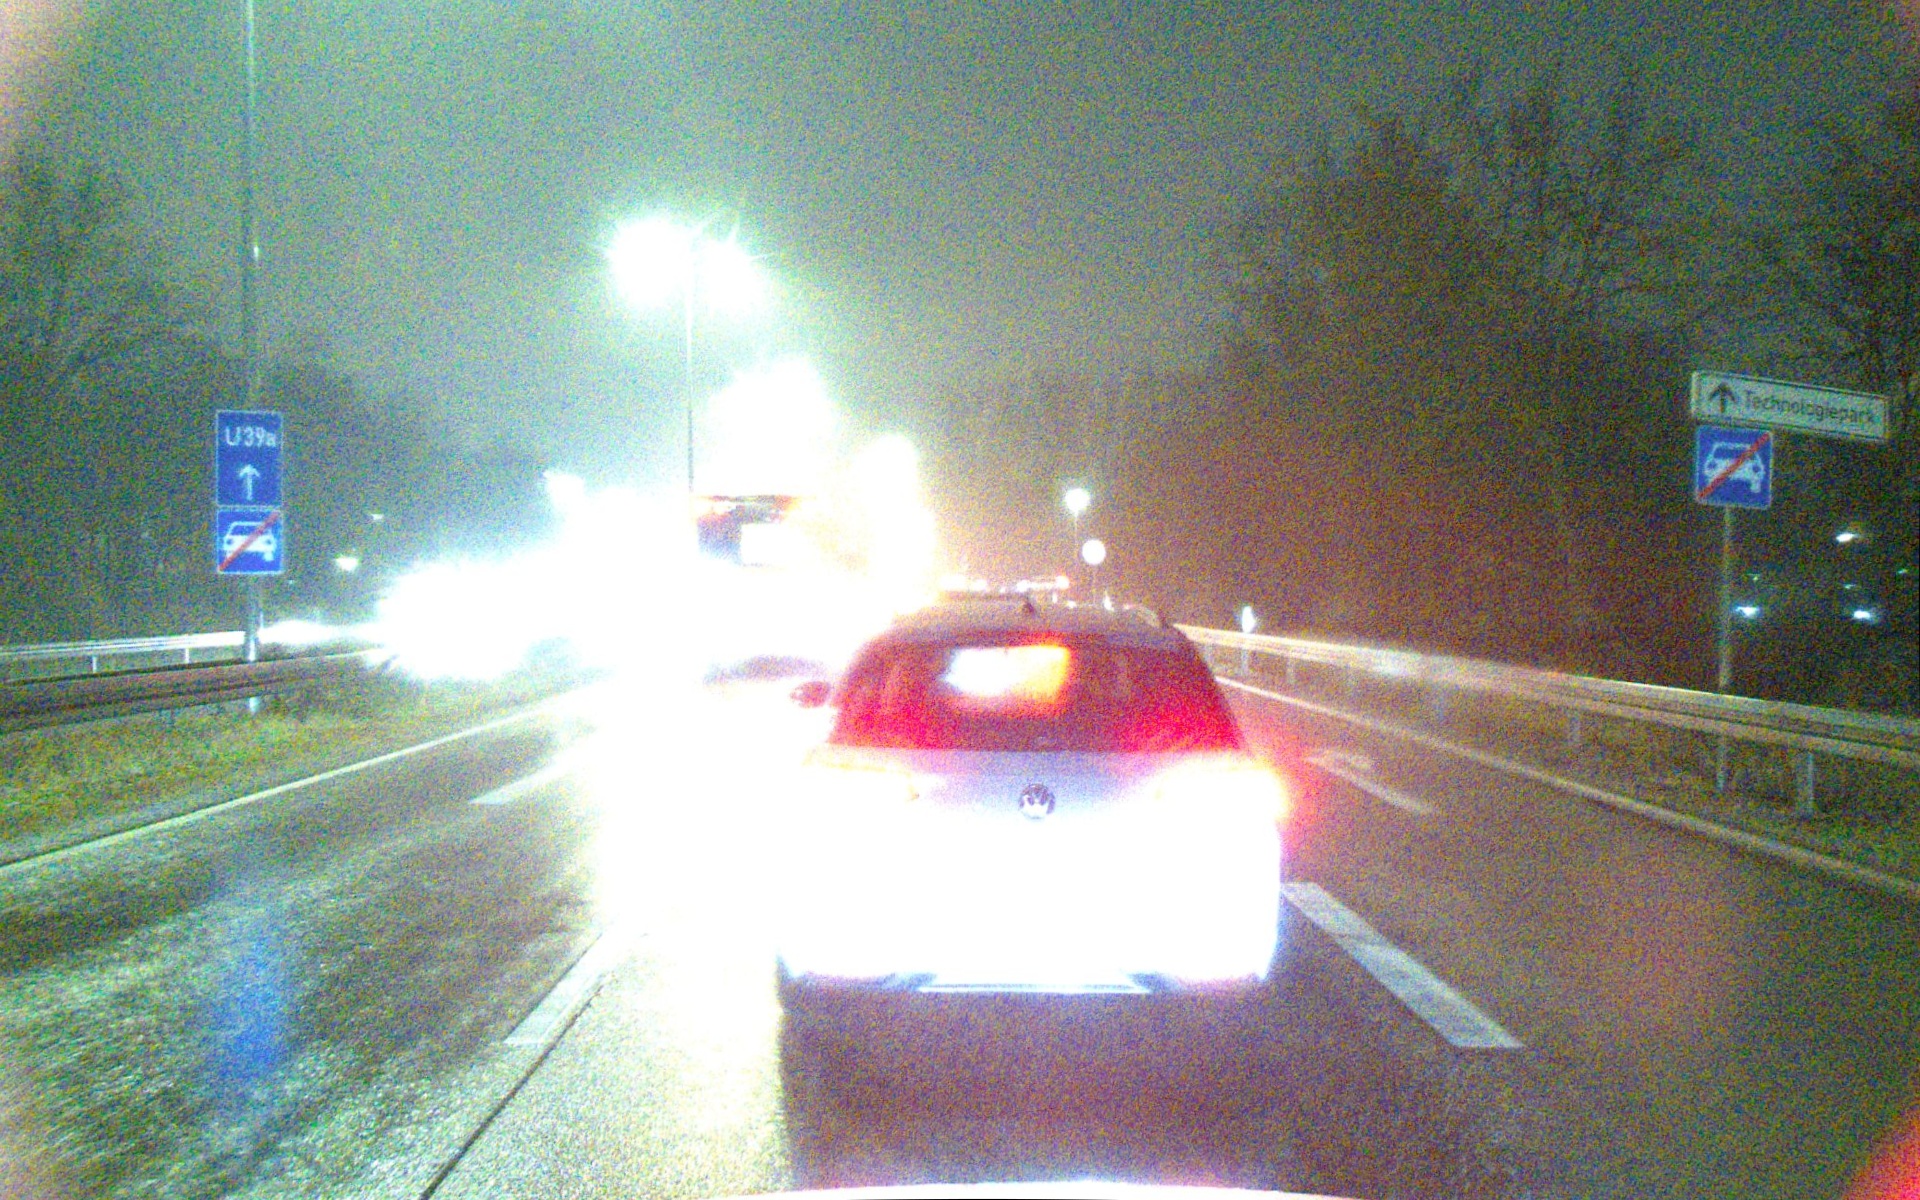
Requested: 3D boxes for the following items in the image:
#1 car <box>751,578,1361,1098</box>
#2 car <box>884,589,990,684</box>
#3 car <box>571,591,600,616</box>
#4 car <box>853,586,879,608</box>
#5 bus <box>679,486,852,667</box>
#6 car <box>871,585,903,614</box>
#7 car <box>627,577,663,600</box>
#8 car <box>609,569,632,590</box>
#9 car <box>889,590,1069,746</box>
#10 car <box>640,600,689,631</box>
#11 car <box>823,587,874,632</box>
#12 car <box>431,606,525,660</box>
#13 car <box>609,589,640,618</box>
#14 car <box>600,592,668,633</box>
[{"bbox_3d":[0.255,0.677,7.115,1.784,1.510,4.567,0,0,-1],"label":"car"},{"bbox_3d":[-0.483,0.613,30.180,1.705,1.592,3.774,1,0,-4],"label":"car"},{"bbox_3d":[-31.505,0.263,139.072,1.956,2.049,3.994,1,0,-7],"label":"car"},{"bbox_3d":[-6.888,-0.257,121.097,1.743,1.570,3.874,1,0,-1],"label":"car"},{"bbox_3d":[-3.614,-0.429,32.684,2.759,3.077,8.682,0,0,-3],"label":"bus"},{"bbox_3d":[-4.321,-0.036,97.081,1.783,1.618,3.774,-1,0,-3],"label":"car"},{"bbox_3d":[-29.191,-1.029,153.333,1.974,2.049,3.956,1,0,-32],"label":"car"},{"bbox_3d":[-34.662,-2.070,168.784,2.085,2.049,3.985,1,0,-14],"label":"car"},{"bbox_3d":[0.083,0.636,18.104,1.697,1.474,4.722,1,0,-3],"label":"car"},{"bbox_3d":[-15.513,0.807,87.087,1.818,1.502,4.777,-1,0,-1],"label":"car"},{"bbox_3d":[-3.970,0.316,59.335,1.744,1.570,3.872,1,0,-3],"label":"car"},{"bbox_3d":[-14.305,0.953,49.308,1.578,1.406,4.163,-3,1,-1],"label":"car"},{"bbox_3d":[-24.633,0.236,121.533,1.956,2.049,3.994,1,0,-7],"label":"car"},{"bbox_3d":[-11.635,0.415,59.299,1.578,1.406,4.745,0,1,-1],"label":"car"}]
